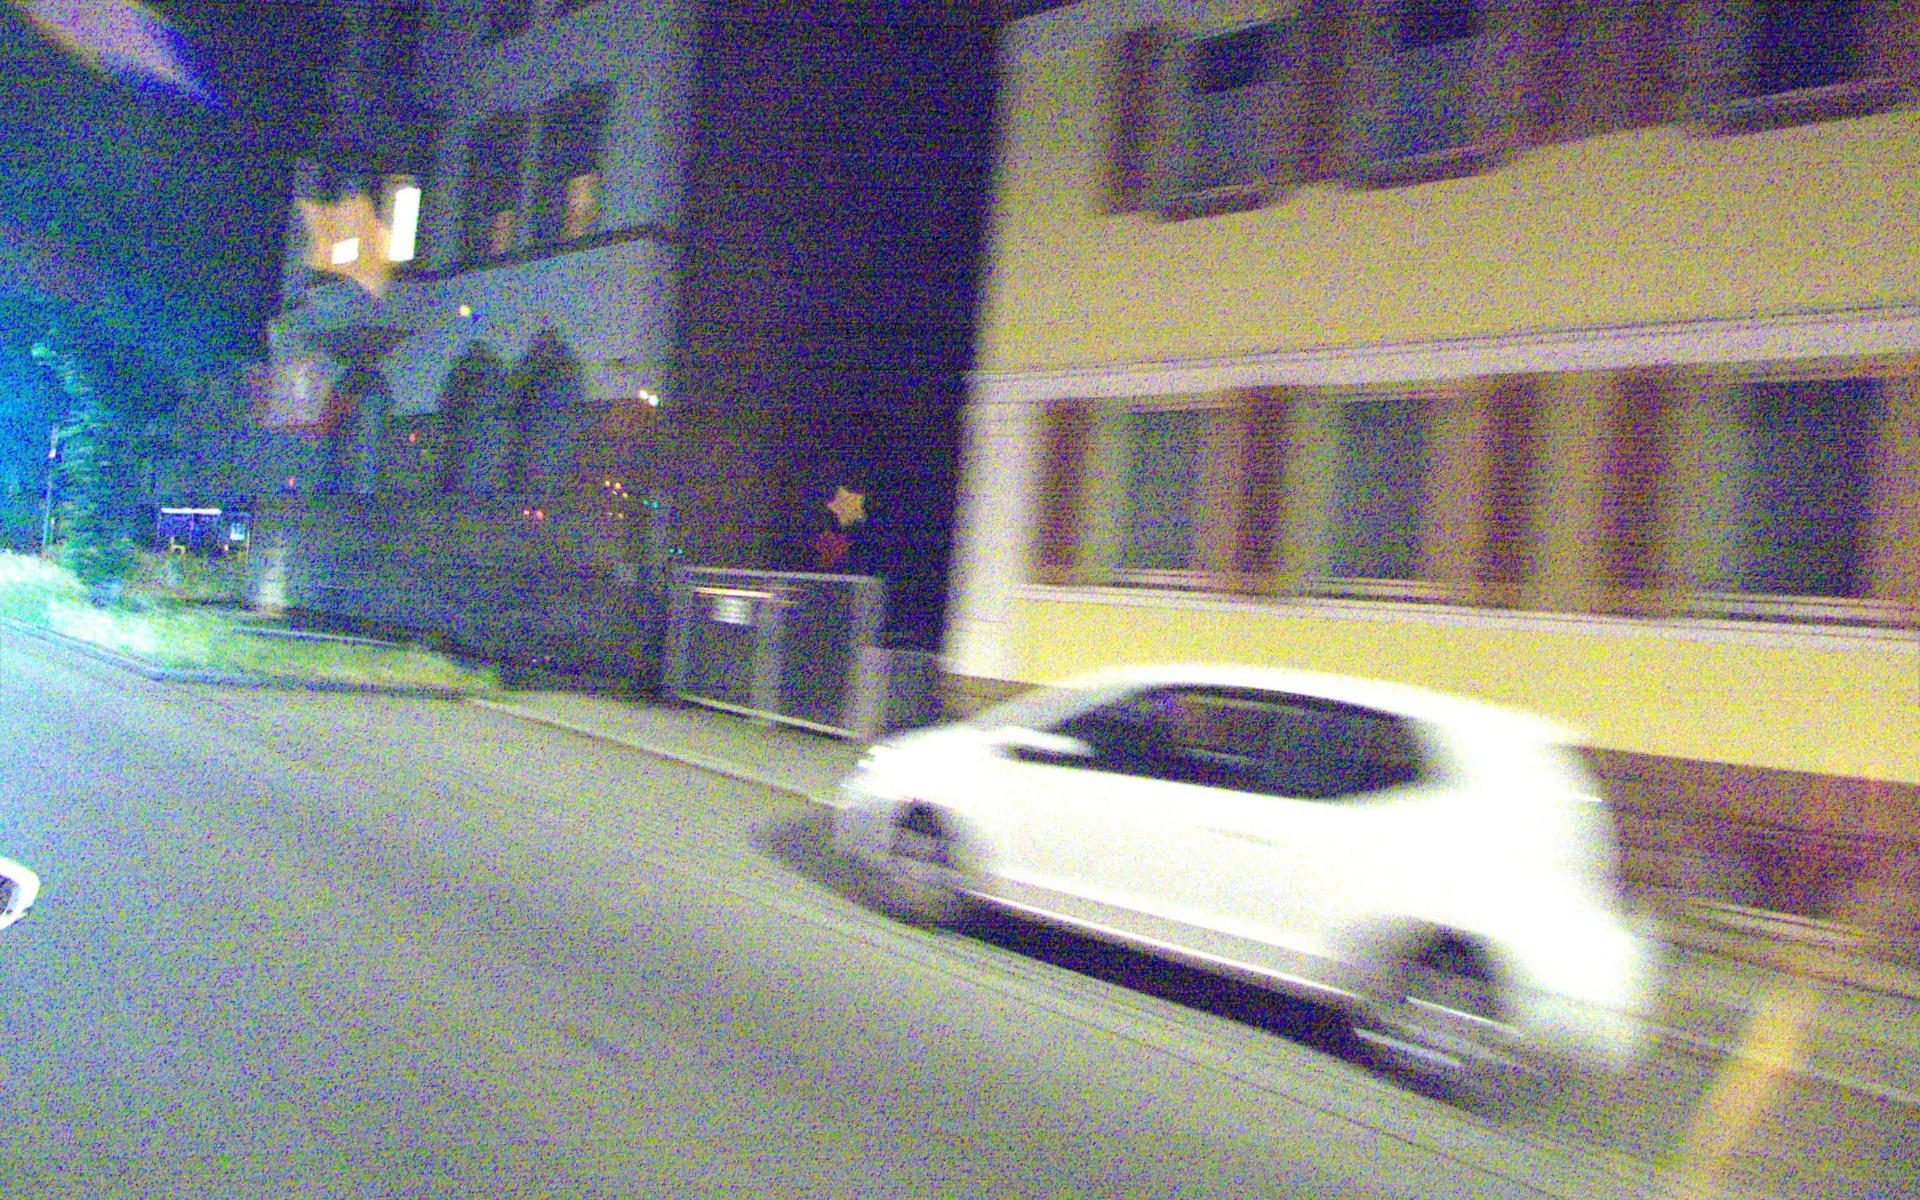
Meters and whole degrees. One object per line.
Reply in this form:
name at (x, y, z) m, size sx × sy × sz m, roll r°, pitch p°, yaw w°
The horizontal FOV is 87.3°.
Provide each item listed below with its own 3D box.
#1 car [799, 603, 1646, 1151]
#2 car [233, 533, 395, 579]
car at (1.159, 0.998, 5.054) m, size 3.543 × 1.503 × 1.669 m, roll 7°, pitch 1°, yaw 32°
car at (-20.903, -1.413, 32.682) m, size 1.741 × 1.298 × 4.119 m, roll 6°, pitch 4°, yaw 40°
